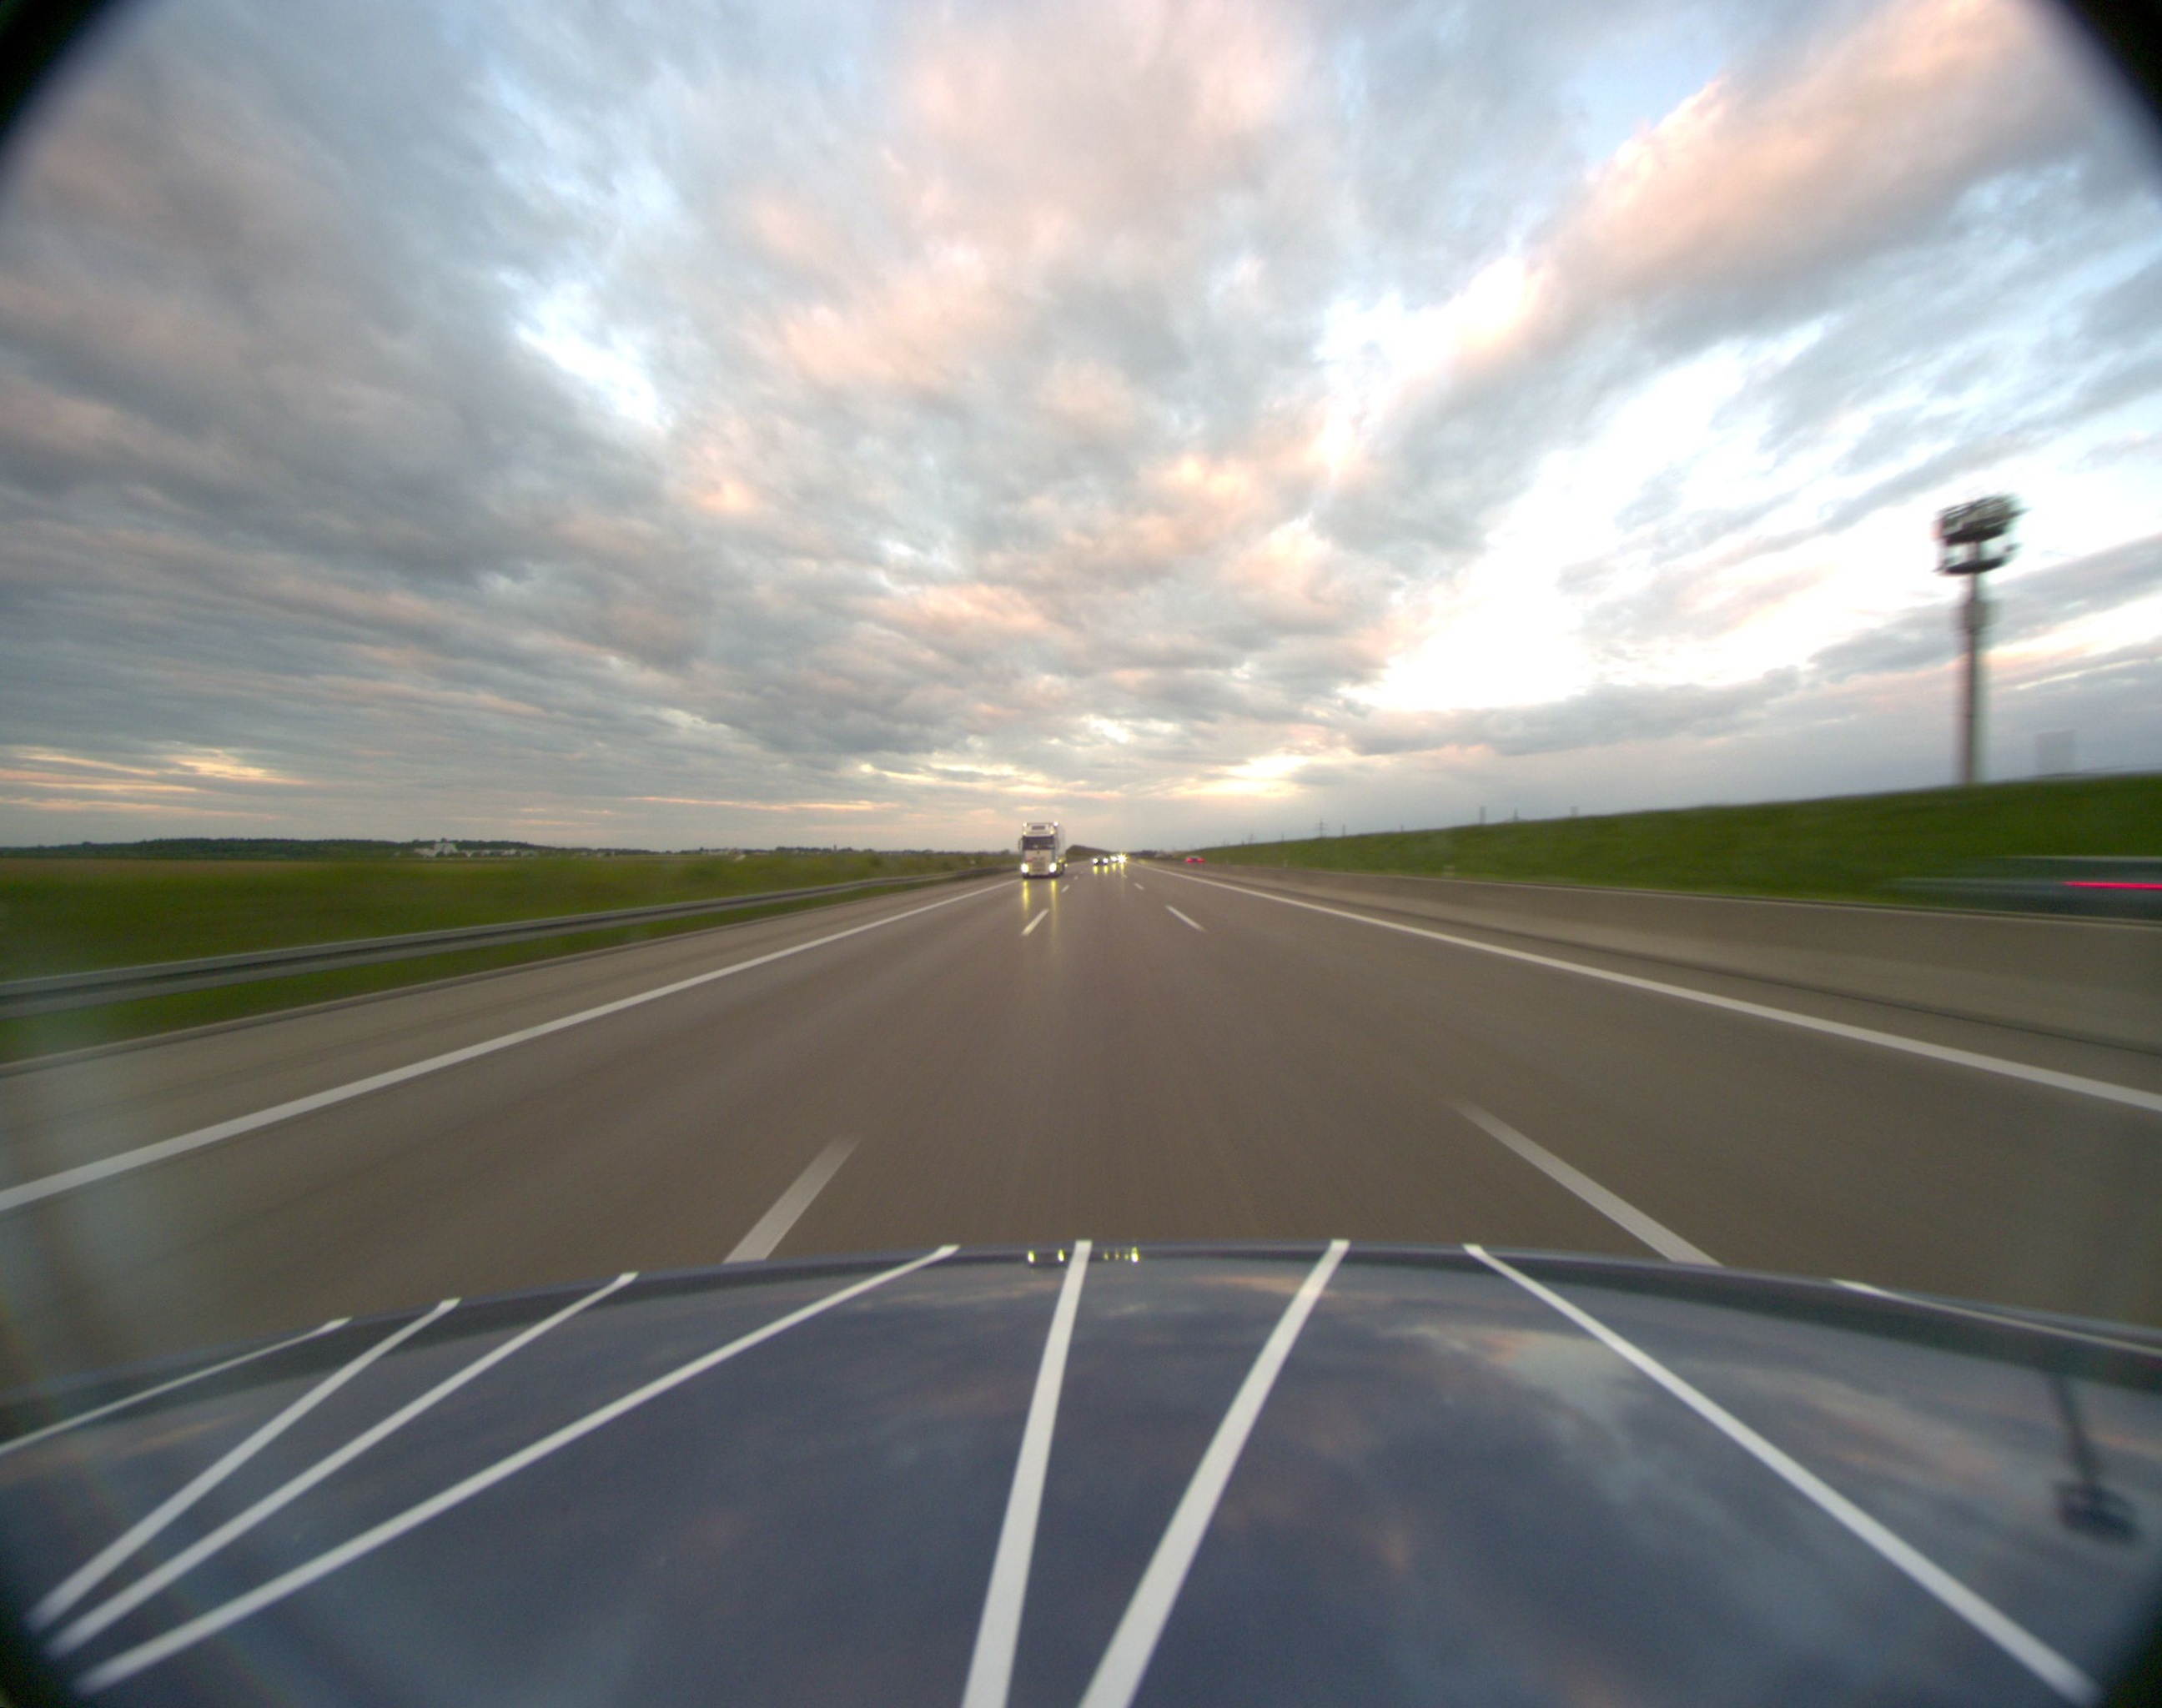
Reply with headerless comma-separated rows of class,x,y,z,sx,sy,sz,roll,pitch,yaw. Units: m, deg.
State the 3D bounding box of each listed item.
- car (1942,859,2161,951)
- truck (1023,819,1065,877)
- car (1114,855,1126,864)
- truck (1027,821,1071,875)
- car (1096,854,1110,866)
car,19.559,0.893,14.135,1.866,1.544,4.581,0,0,0
truck,-2.648,-0.433,56.195,2.596,3.999,5.860,-1,0,2
car,7.651,1.073,149.039,1.998,1.652,4.000,-2,1,1
truck,-2.474,-0.441,62.657,2.596,3.999,12.986,-1,0,2
car,3.366,0.886,114.241,1.998,1.652,4.851,-2,1,2
